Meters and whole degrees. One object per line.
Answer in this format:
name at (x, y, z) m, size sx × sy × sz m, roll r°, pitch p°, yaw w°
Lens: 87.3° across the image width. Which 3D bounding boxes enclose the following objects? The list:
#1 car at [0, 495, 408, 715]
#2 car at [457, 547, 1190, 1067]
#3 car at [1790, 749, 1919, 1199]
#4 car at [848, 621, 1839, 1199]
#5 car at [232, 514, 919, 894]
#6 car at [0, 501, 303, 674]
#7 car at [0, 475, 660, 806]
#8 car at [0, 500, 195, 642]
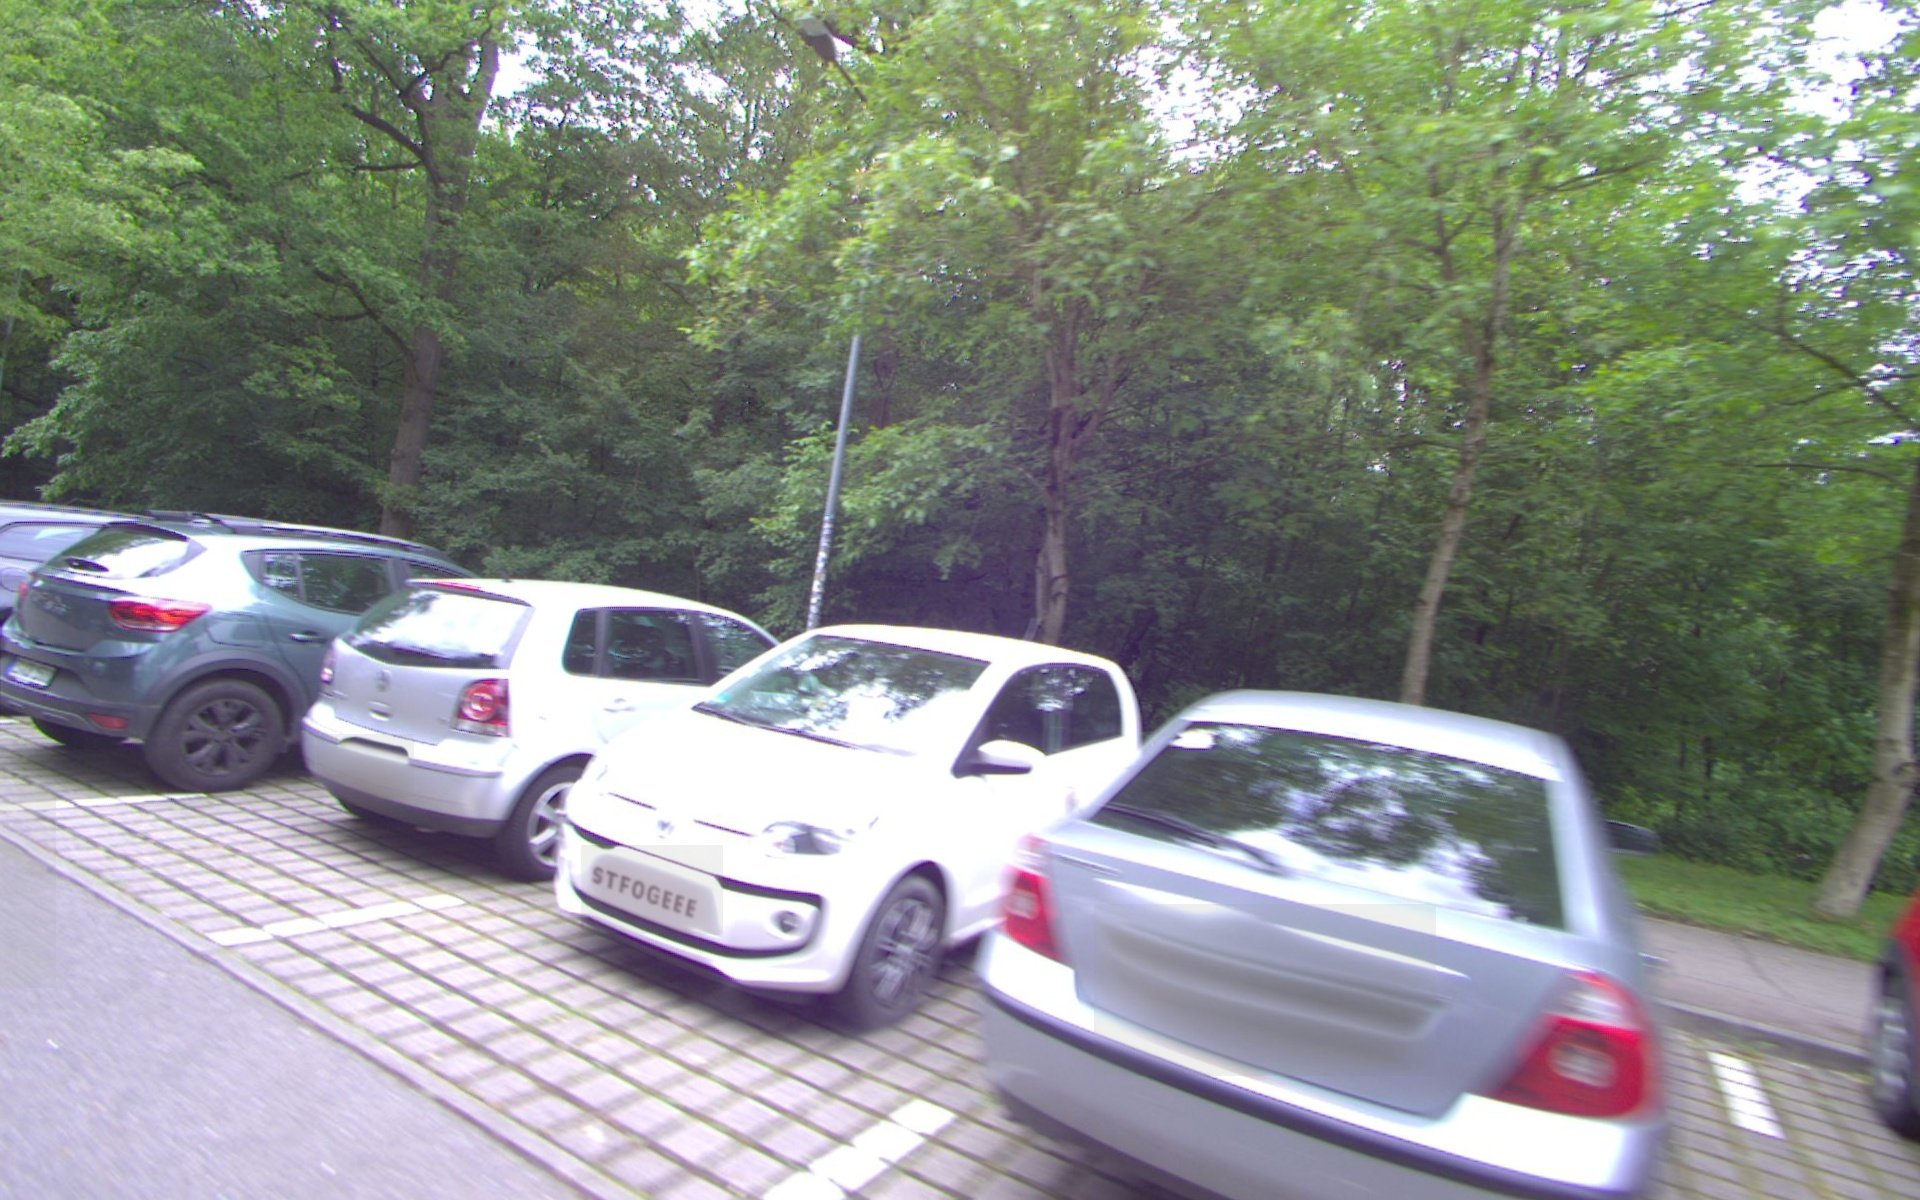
car at (-6.947, 0.043, 8.290) m, size 1.742 × 1.498 × 3.781 m, roll 8°, pitch -2°, yaw 25°
car at (-0.279, 0.805, 5.210) m, size 1.722 × 1.528 × 3.710 m, roll 7°, pitch -2°, yaw 30°
car at (3.938, 1.361, 2.639) m, size 1.908 × 1.466 × 3.996 m, roll 7°, pitch -2°, yaw 30°
car at (1.636, 1.071, 3.879) m, size 1.834 × 1.478 × 4.134 m, roll 6°, pitch -2°, yaw 32°
car at (-2.039, 0.598, 6.504) m, size 1.700 × 1.563 × 3.853 m, roll 7°, pitch -2°, yaw 28°
car at (-9.061, -0.185, 9.799) m, size 1.845 × 1.427 × 3.945 m, roll 8°, pitch -2°, yaw 27°
car at (-4.336, 0.322, 7.208) m, size 1.916 × 1.608 × 3.778 m, roll 8°, pitch -2°, yaw 29°
car at (-11.338, -0.452, 11.362) m, size 1.835 × 1.457 × 3.810 m, roll 8°, pitch -2°, yaw 18°
